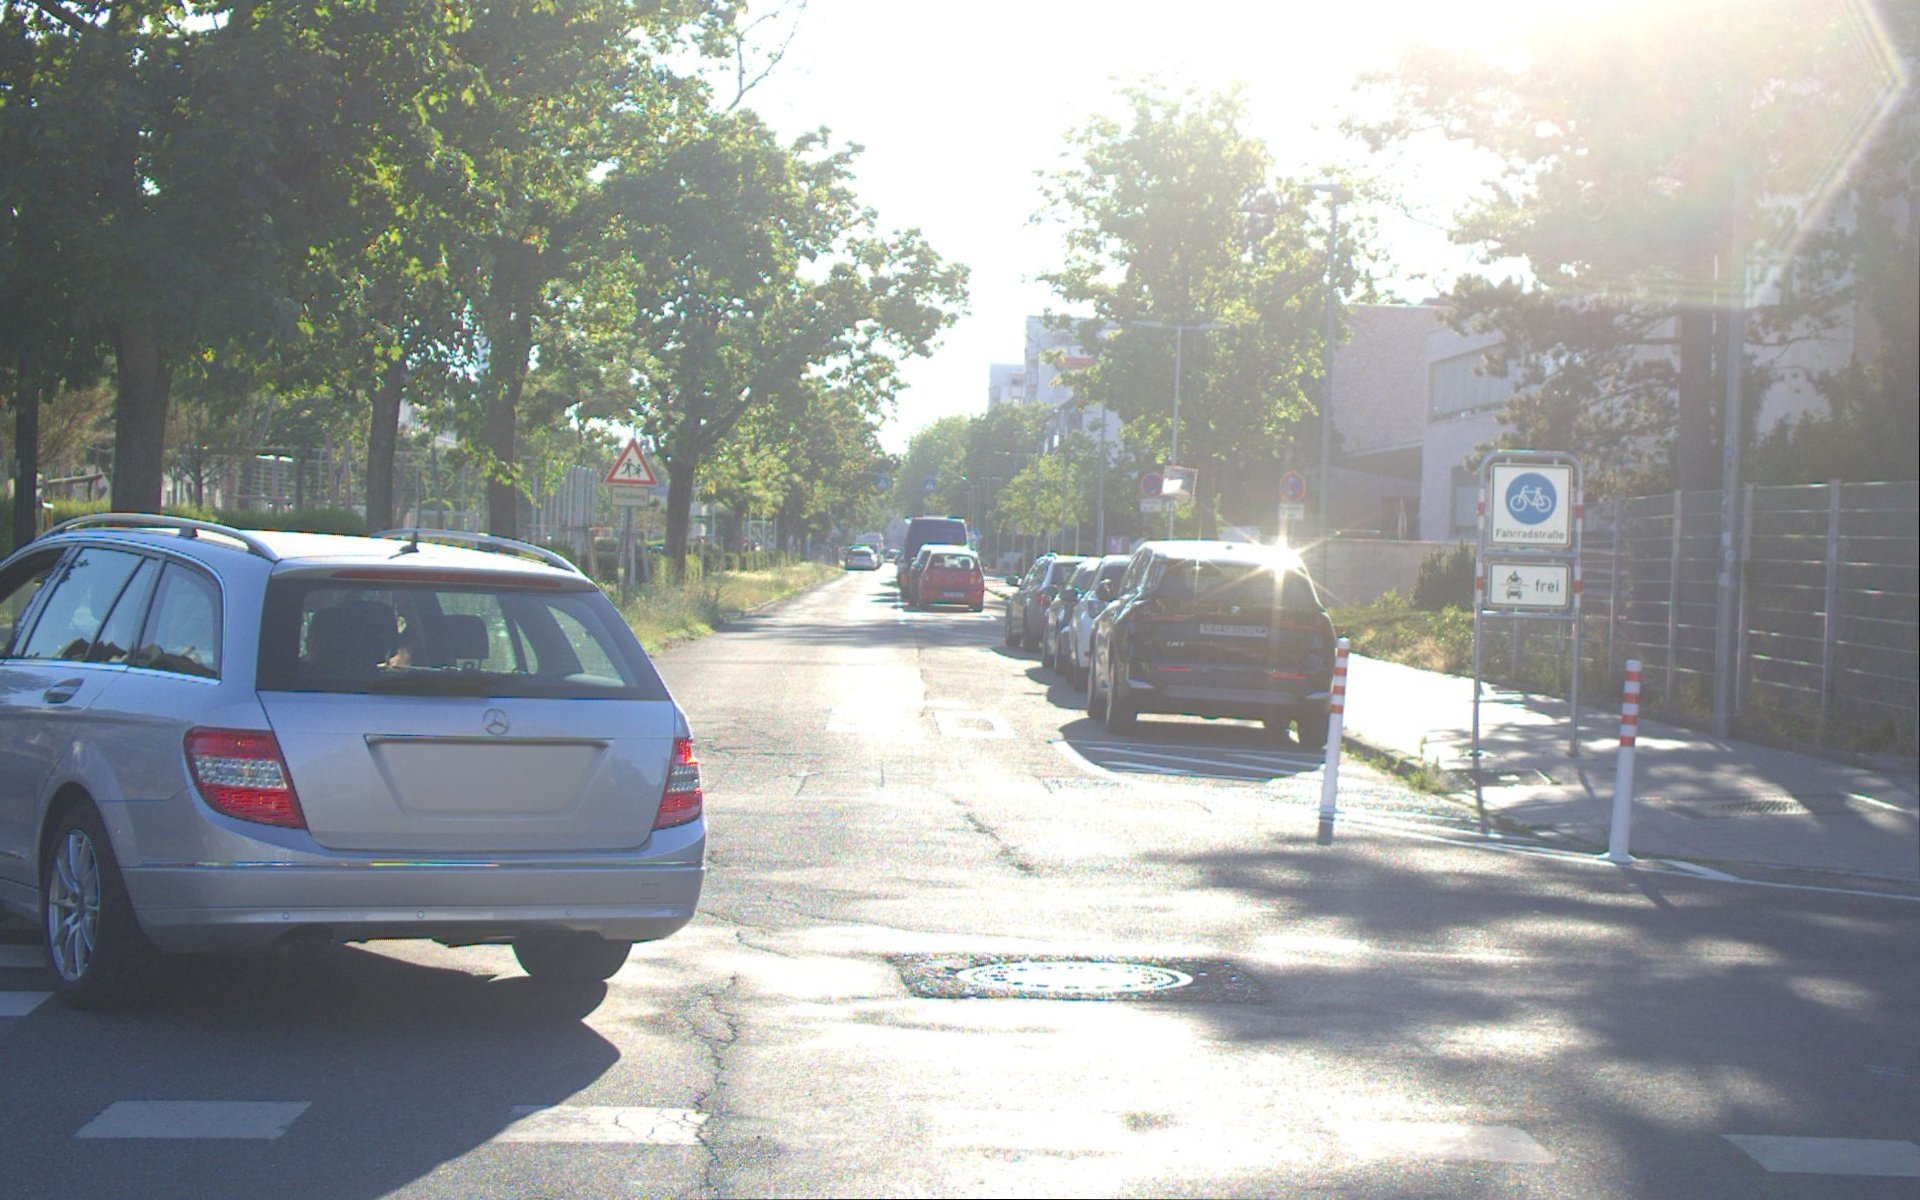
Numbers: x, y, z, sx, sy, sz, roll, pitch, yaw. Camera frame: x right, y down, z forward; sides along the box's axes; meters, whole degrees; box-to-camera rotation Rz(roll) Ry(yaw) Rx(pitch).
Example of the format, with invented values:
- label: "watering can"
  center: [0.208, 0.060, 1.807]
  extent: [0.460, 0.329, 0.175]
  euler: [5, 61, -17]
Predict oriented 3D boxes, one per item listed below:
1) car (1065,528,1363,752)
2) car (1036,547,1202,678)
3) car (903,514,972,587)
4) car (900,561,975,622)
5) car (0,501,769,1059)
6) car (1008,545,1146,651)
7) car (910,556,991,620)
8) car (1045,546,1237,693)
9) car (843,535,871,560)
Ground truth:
- label: "car"
  center: [2.073, 0.285, 29.225]
  extent: [1.817, 1.636, 4.217]
  euler: [4, 1, -4]
- label: "car"
  center: [1.941, 0.123, 42.993]
  extent: [1.729, 1.513, 3.760]
  euler: [2, 1, -2]
- label: "car"
  center: [-0.716, -1.501, 104.666]
  extent: [1.993, 2.116, 4.000]
  euler: [2, 1, -1]
- label: "car"
  center: [-0.607, -0.248, 91.414]
  extent: [1.729, 1.513, 3.761]
  euler: [2, 1, -4]
- label: "car"
  center: [-2.453, 0.431, 11.338]
  extent: [1.817, 1.468, 4.217]
  euler: [1, 1, -32]
- label: "car"
  center: [1.741, -0.055, 52.195]
  extent: [1.765, 1.521, 3.773]
  euler: [1, 1, -3]
- label: "car"
  center: [-0.264, -0.310, 86.959]
  extent: [1.756, 1.513, 3.761]
  euler: [2, 1, -4]
- label: "car"
  center: [1.956, 0.176, 38.086]
  extent: [1.765, 1.521, 3.773]
  euler: [1, 1, -2]
- label: "car"
  center: [-7.035, -3.586, 234.316]
  extent: [1.865, 1.612, 4.001]
  euler: [2, 1, -2]
